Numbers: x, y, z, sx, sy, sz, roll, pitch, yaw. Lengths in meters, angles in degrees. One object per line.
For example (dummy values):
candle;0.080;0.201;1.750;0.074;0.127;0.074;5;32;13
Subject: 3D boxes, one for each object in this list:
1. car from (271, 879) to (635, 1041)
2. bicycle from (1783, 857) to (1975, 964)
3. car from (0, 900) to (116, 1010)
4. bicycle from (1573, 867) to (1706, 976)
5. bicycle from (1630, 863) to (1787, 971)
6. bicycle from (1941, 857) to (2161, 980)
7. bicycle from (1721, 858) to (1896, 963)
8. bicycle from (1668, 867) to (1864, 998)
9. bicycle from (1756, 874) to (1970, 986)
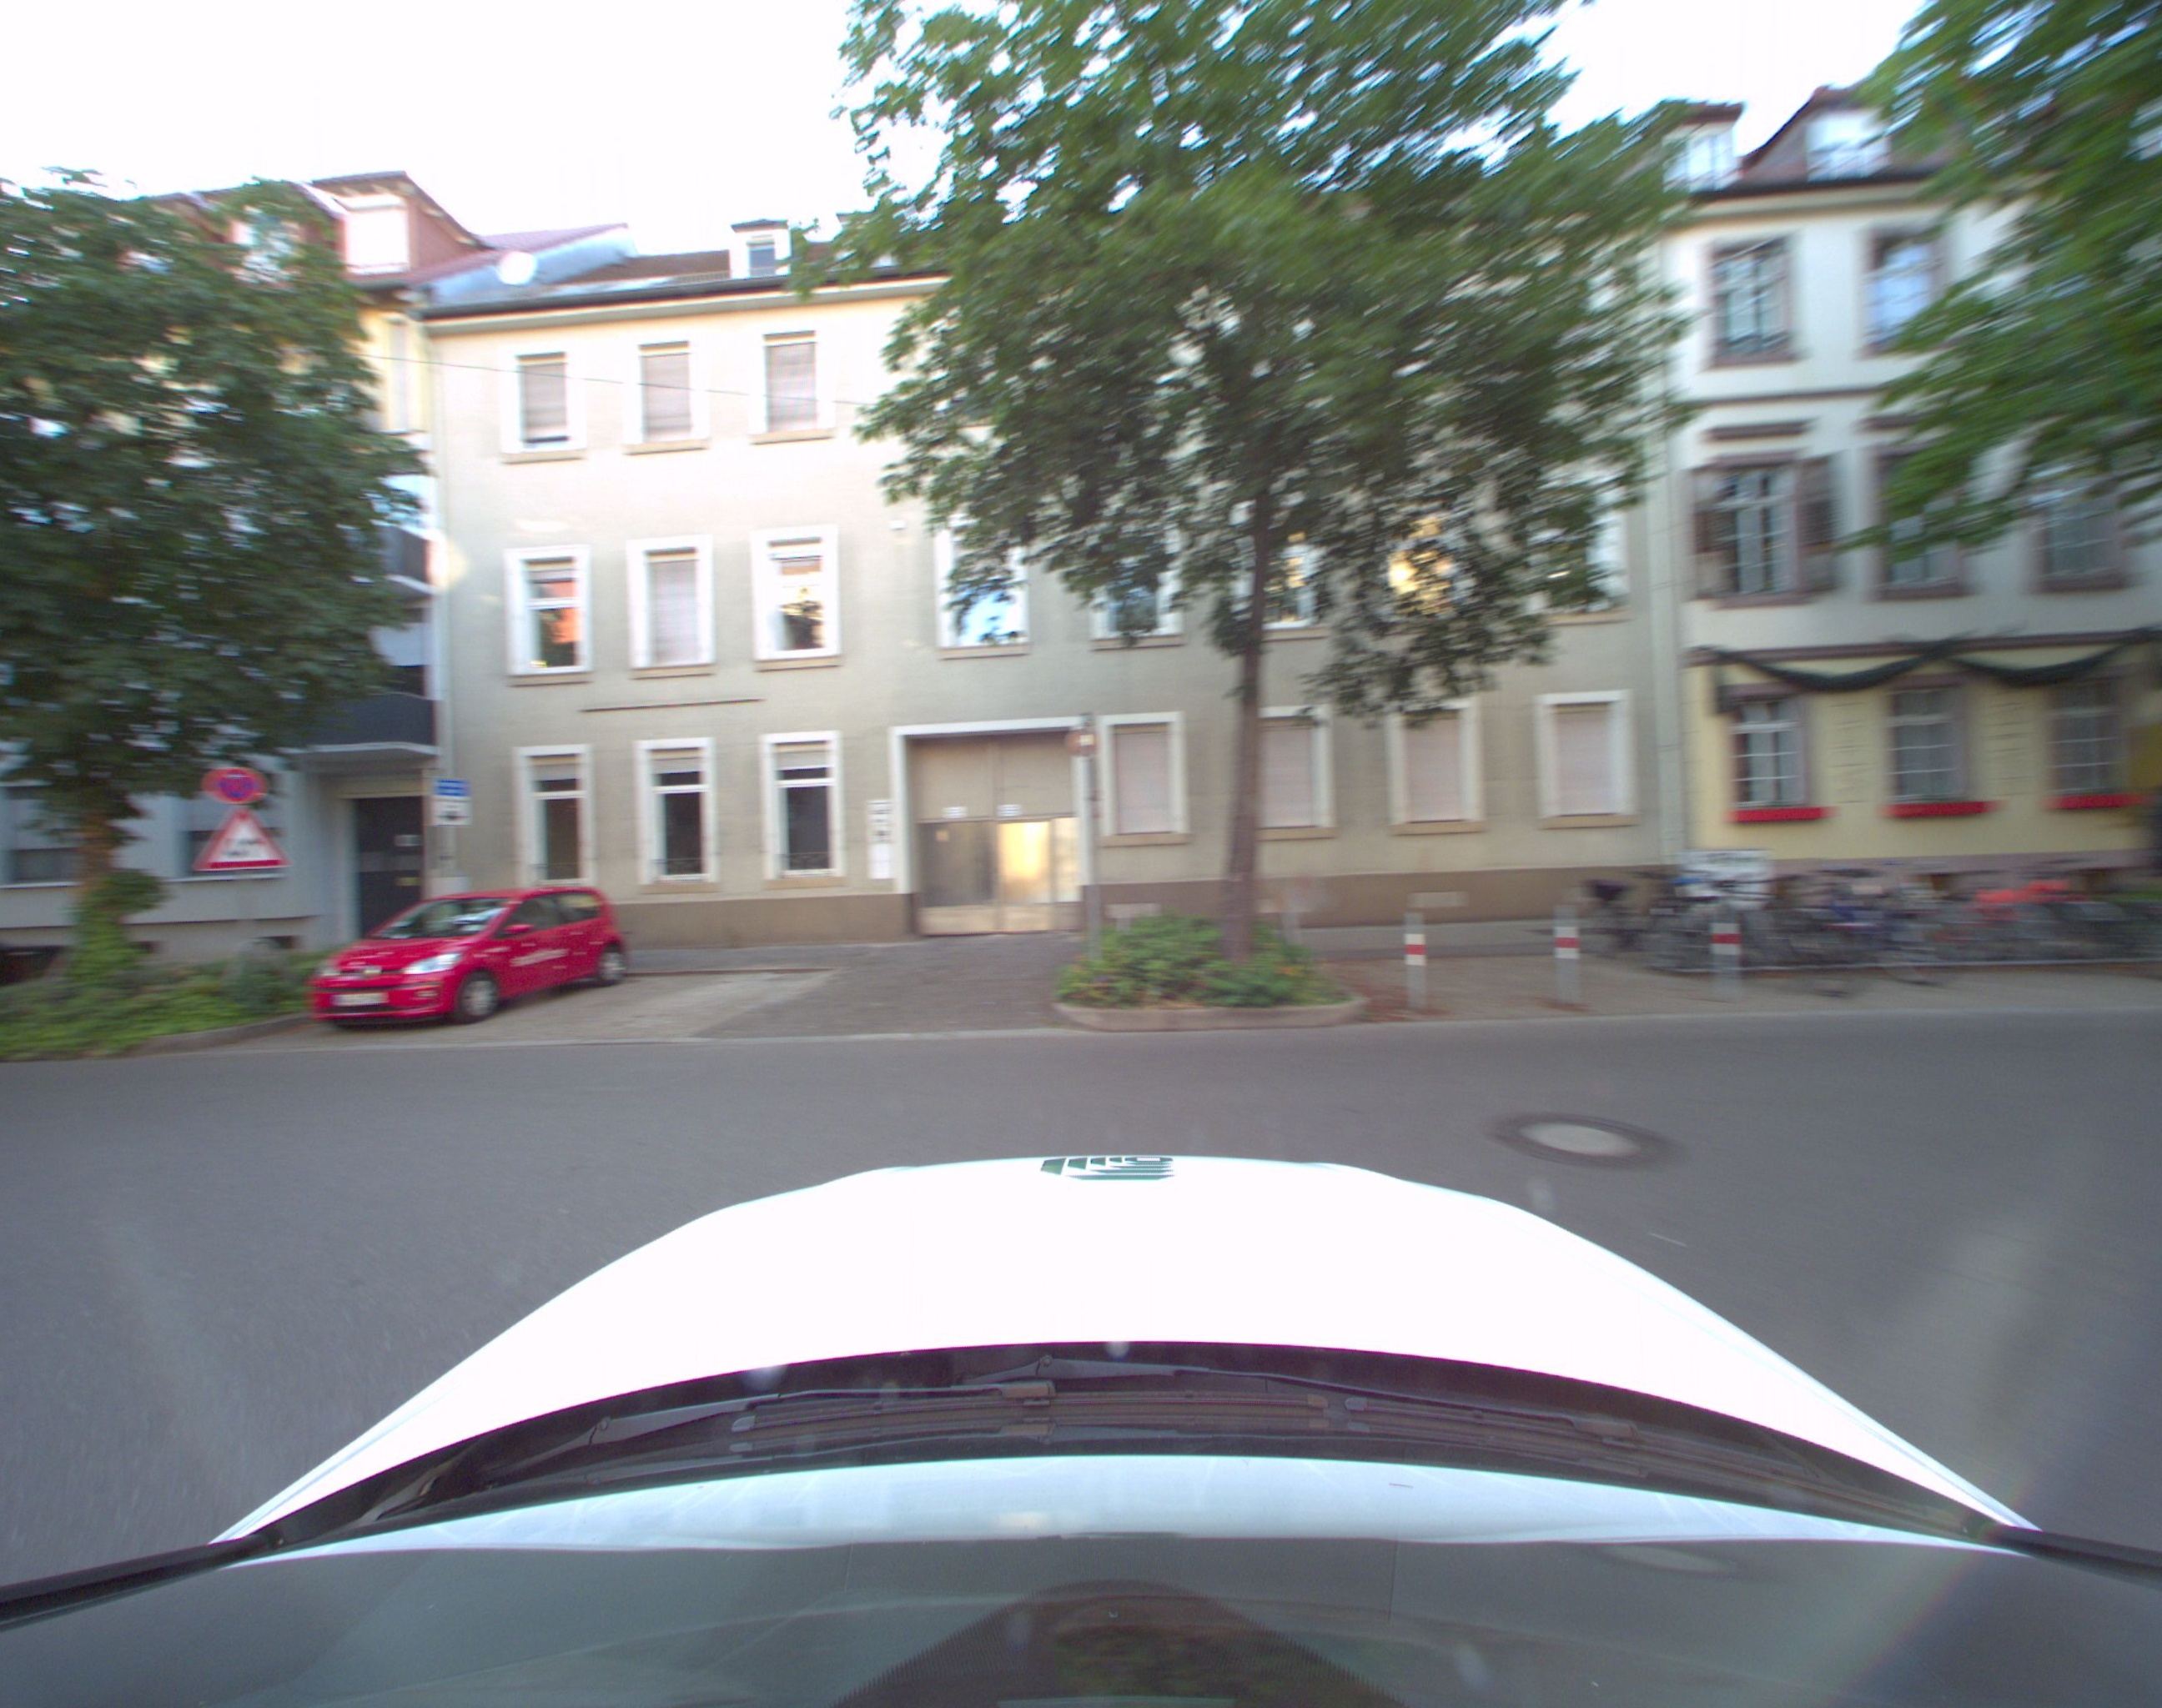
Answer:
car;-7.523;1.161;10.278;1.554;1.475;3.671;-2;0;3
bicycle;9.591;0.626;9.912;0.418;1.145;2.044;-2;0;4
car;-16.053;1.539;10.950;1.617;1.427;3.715;-2;2;0
bicycle;6.721;0.757;9.931;0.442;1.145;2.047;-2;0;8
bicycle;7.551;0.704;9.930;0.418;1.145;2.044;-2;0;4
bicycle;10.482;0.613;8.745;0.418;1.145;2.044;-2;0;4
bicycle;8.914;0.637;10.105;0.418;1.145;2.044;-2;0;4
bicycle;6.982;0.738;8.446;0.443;1.145;2.045;-2;0;6
bicycle;8.253;0.747;8.738;0.418;1.004;2.044;-2;0;4
